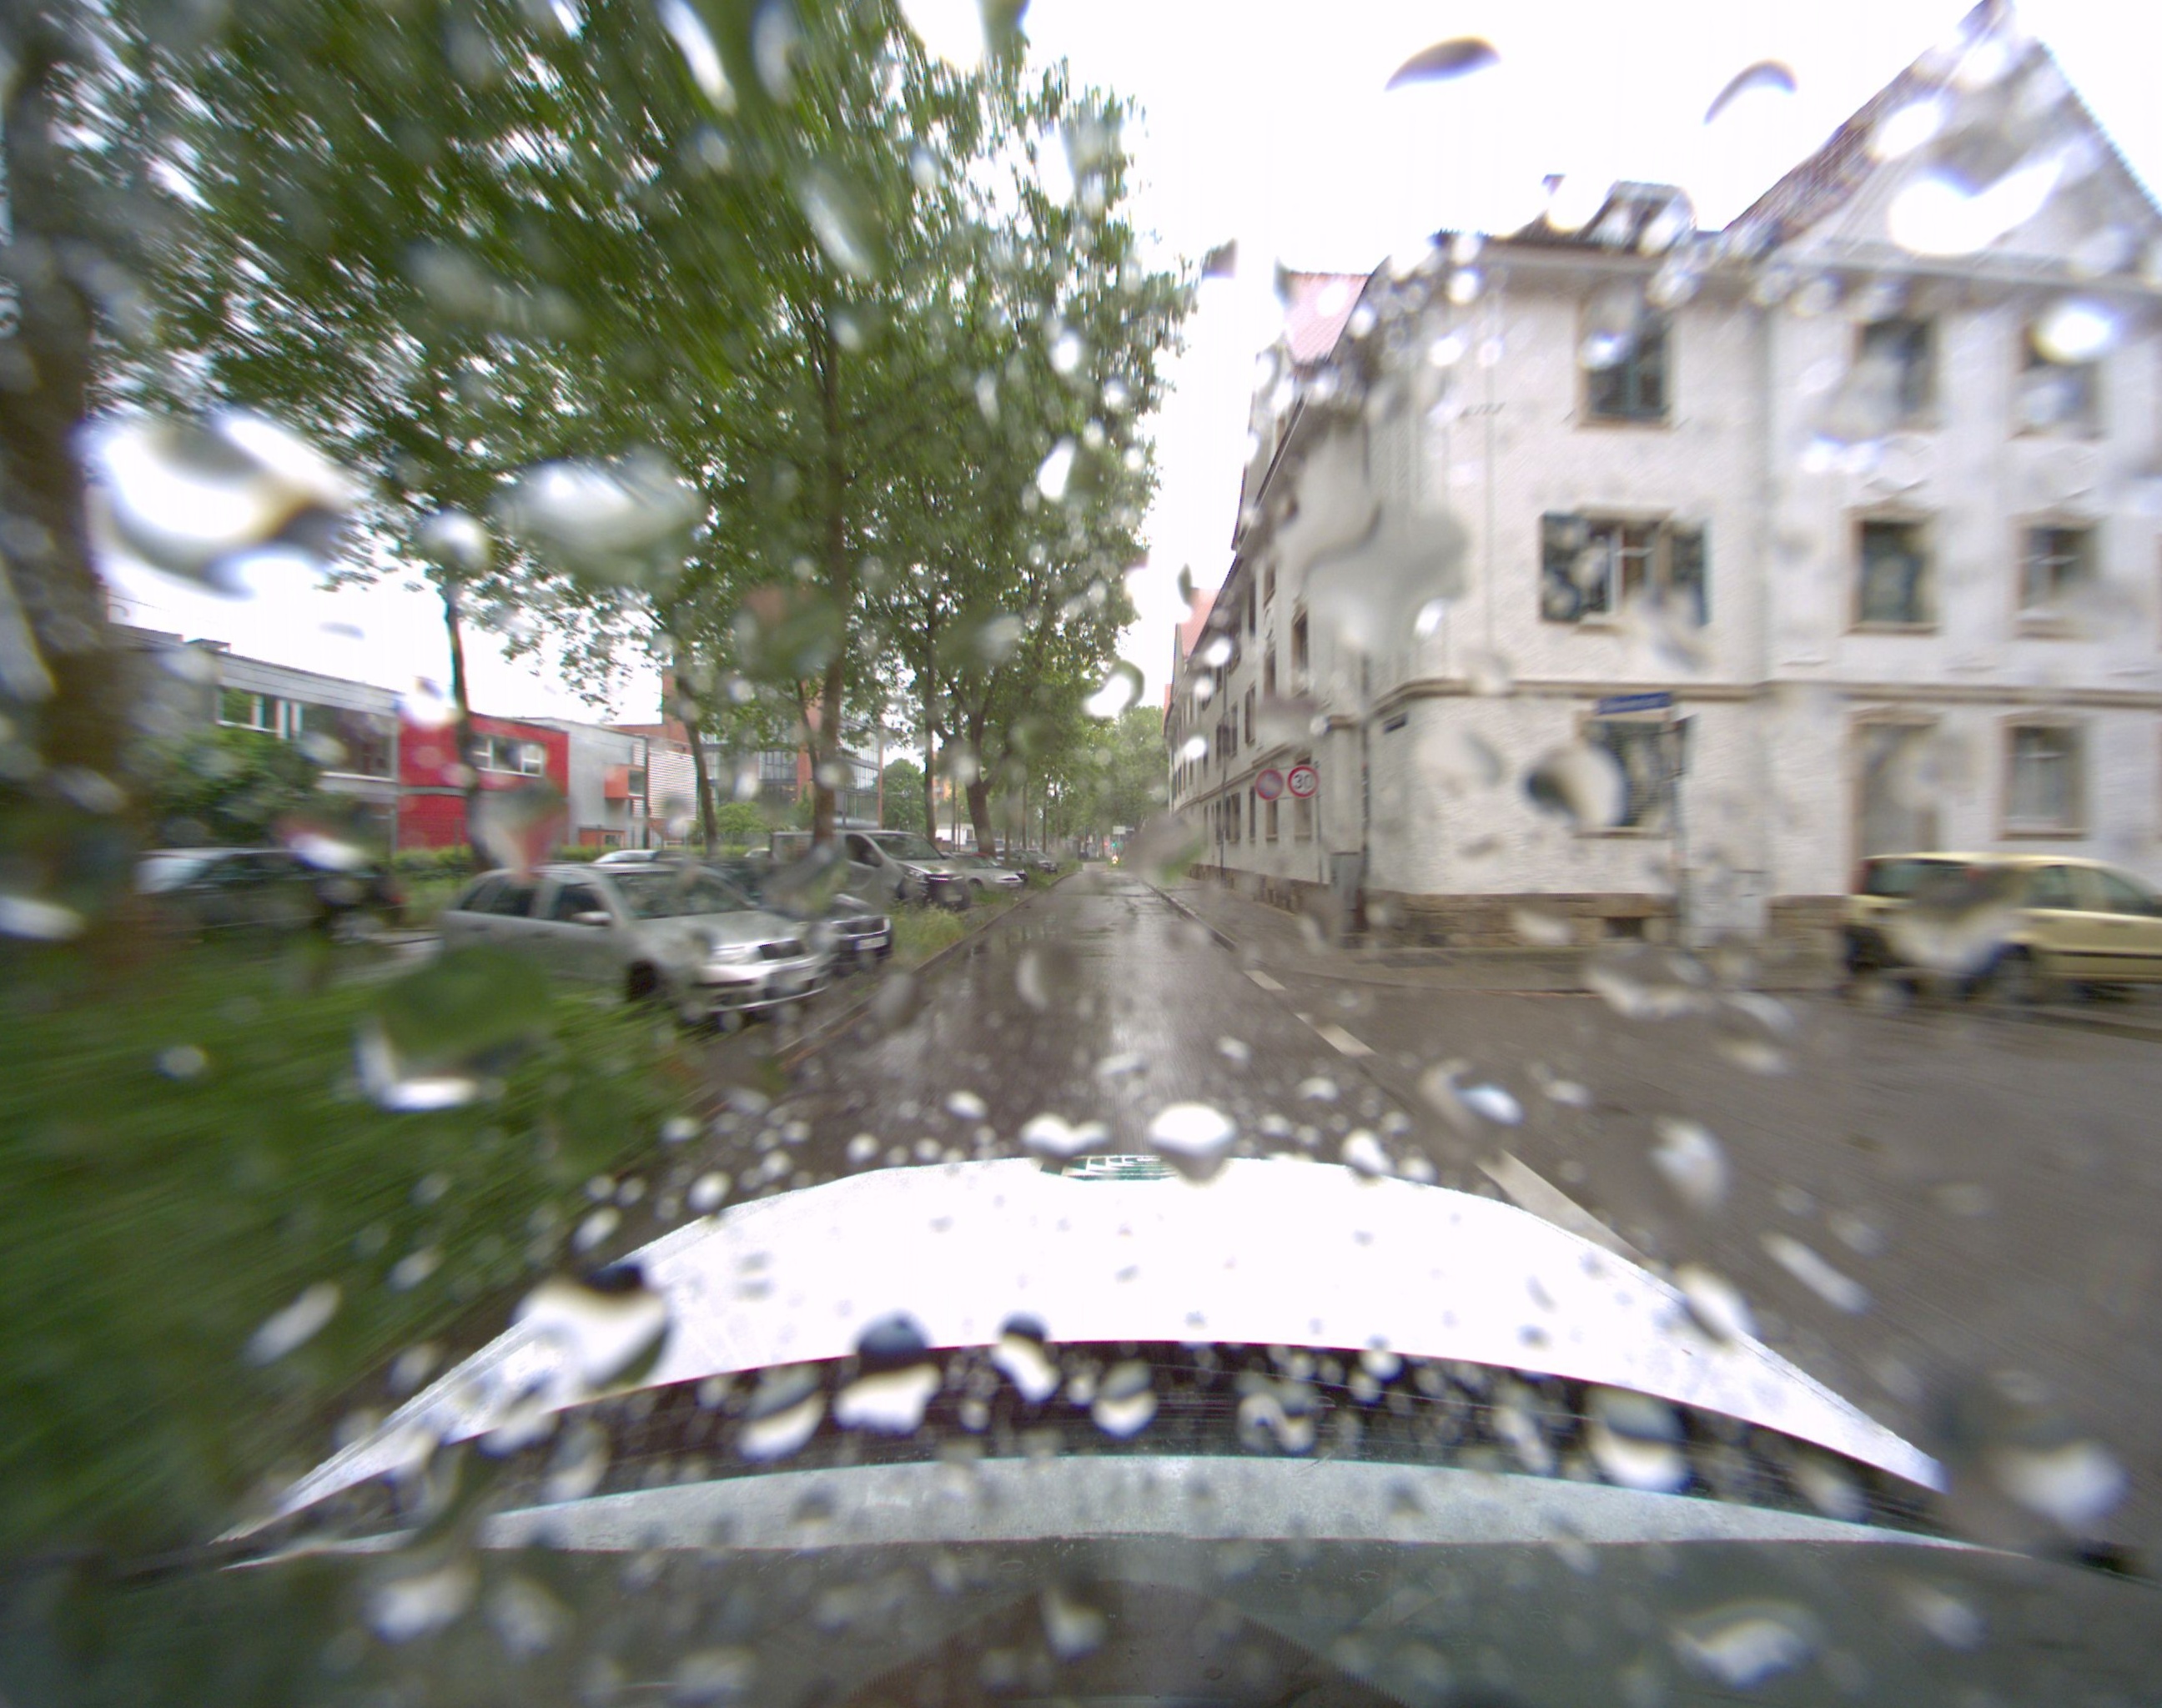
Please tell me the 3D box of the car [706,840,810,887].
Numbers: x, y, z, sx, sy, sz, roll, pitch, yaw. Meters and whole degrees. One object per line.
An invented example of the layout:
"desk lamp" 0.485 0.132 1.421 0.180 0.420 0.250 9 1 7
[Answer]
"car" -11.381 0.343 29.025 1.986 1.508 4.001 1 -1 2

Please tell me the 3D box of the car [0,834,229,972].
"car" -12.911 0.525 9.228 1.987 1.519 4.238 1 0 1

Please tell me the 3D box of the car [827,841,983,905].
"car" -4.530 0.461 20.830 3.737 1.482 1.733 0 -1 32

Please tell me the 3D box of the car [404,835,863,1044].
"car" -4.287 0.631 7.781 4.020 1.499 1.757 2 0 25

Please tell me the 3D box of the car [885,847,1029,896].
"car" -4.043 0.546 26.382 4.502 1.482 1.786 0 -1 31

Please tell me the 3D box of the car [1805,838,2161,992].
"car" 10.513 0.630 9.150 3.351 1.486 1.714 1 2 -6

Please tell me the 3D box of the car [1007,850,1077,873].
"car" -2.657 0.499 54.937 4.308 1.512 1.973 -1 1 32

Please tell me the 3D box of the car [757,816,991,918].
"car" -4.658 0.267 18.083 5.066 1.977 2.116 0 -1 32

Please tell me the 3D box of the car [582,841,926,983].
"car" -4.283 0.616 10.559 4.262 1.437 1.758 2 0 28

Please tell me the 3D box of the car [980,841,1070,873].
"car" -2.998 0.146 43.794 4.417 1.597 1.935 1 0 28

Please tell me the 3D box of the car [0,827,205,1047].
"car" -9.100 0.590 5.407 1.987 1.640 4.138 2 -1 0

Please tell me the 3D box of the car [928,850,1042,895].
"car" -3.428 0.625 28.960 3.768 1.521 1.733 0 -1 32
